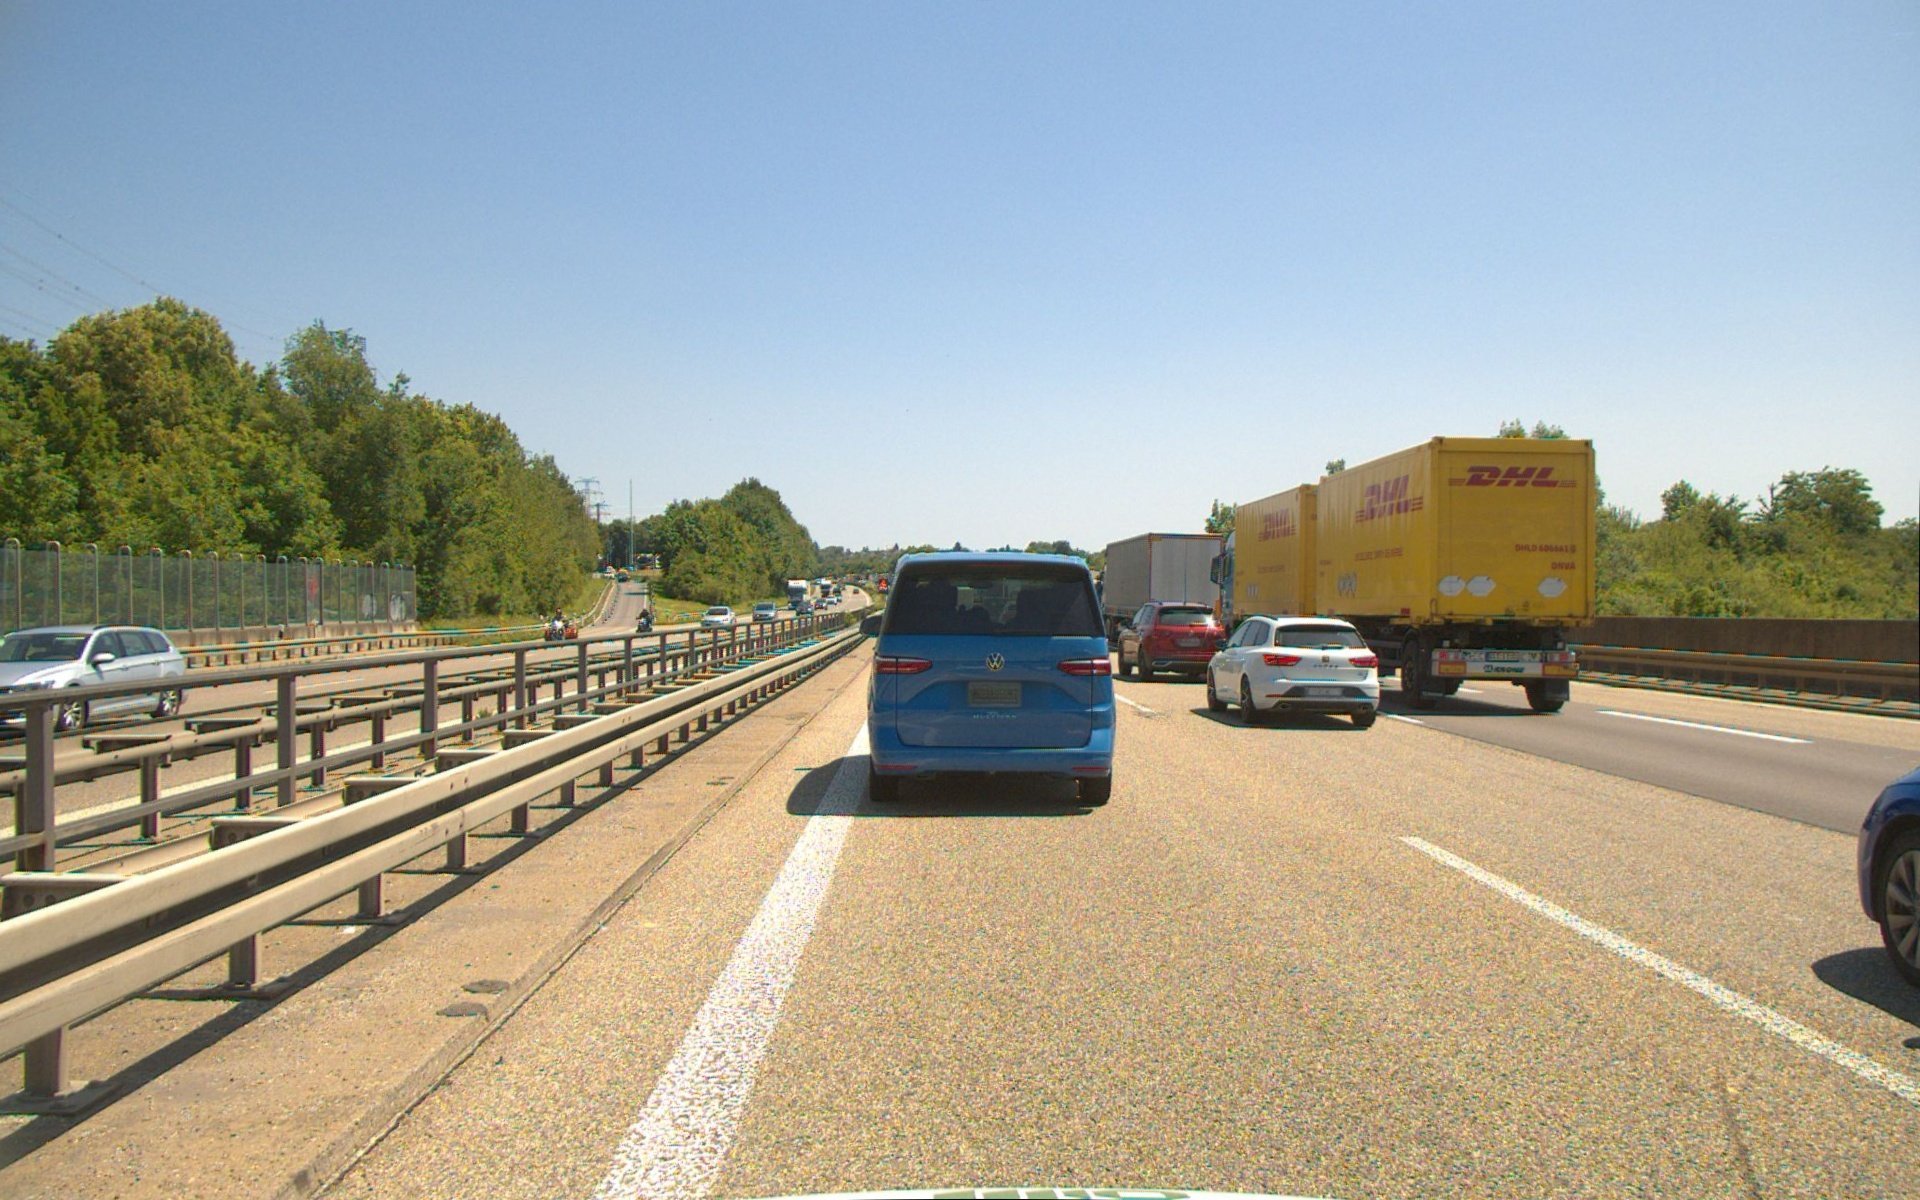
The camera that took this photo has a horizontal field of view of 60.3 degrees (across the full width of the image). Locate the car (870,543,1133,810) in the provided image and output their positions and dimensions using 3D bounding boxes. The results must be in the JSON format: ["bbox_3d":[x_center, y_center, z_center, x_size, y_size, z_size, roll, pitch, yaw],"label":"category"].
[{"bbox_3d":[0.269,0.549,13.694,1.844,1.869,3.999,1,0,-1],"label":"car"}]

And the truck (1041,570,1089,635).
[{"bbox_3d":[6.341,0.191,100.723,2.320,3.787,6.031,1,-1,-1],"label":"truck"}]

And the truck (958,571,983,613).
[{"bbox_3d":[1.463,-1.036,228.401,2.777,5.467,12.548,1,-1,-2],"label":"truck"}]

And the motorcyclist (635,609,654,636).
[{"bbox_3d":[-17.985,1.275,94.305,0.880,1.466,1.082,-1,1,-2],"label":"motorcyclist"}]

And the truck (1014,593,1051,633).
[{"bbox_3d":[6.151,1.160,142.019,2.308,3.275,9.735,1,-1,-2],"label":"truck"}]

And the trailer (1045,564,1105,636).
[{"bbox_3d":[6.477,0.095,94.460,2.331,3.810,11.184,1,-1,-1],"label":"trailer"}]

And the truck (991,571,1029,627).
[{"bbox_3d":[4.754,-0.029,159.345,2.777,5.128,11.140,1,-1,-2],"label":"truck"}]

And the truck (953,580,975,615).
[{"bbox_3d":[0.521,-0.344,252.324,2.777,5.128,12.906,-1,0,-2],"label":"truck"}]

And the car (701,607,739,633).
[{"bbox_3d":[-14.203,1.174,98.009,1.680,1.459,4.174,-3,0,-1],"label":"car"}]

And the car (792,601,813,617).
[{"bbox_3d":[-16.474,0.938,173.018,1.792,1.637,4.167,-2,0,-1],"label":"car"}]

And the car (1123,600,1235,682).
[{"bbox_3d":[4.601,0.831,35.313,1.813,1.636,3.999,0,0,-1],"label":"car"}]

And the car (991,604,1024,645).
[{"bbox_3d":[2.453,1.268,85.910,1.551,2.049,3.492,1,-1,-1],"label":"car"}]

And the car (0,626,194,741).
[{"bbox_3d":[-12.487,1.100,22.884,1.872,1.419,4.164,-1,-1,-1],"label":"car"}]

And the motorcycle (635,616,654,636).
[{"bbox_3d":[-17.959,1.470,94.215,0.687,1.089,2.305,-1,1,-1],"label":"motorcycle"}]

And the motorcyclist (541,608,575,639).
[{"bbox_3d":[-17.188,1.005,70.732,1.162,1.278,1.118,-2,0,-1],"label":"motorcyclist"}]

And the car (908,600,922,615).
[{"bbox_3d":[-6.023,1.002,221.664,1.704,1.944,3.680,1,-1,-1],"label":"car"}]

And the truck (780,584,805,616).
[{"bbox_3d":[-23.499,0.005,232.643,2.928,4.354,7.186,-1,0,-1],"label":"truck"}]

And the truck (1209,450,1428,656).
[{"bbox_3d":[8.081,-0.891,38.812,2.667,4.126,10.333,1,-1,-1],"label":"truck"}]

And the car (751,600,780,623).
[{"bbox_3d":[-14.859,0.844,126.434,1.793,1.637,4.167,-3,0,-1],"label":"car"}]

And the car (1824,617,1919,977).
[{"bbox_3d":[4.779,0.810,5.248,1.675,1.465,4.499,1,0,-1],"label":"car"}]

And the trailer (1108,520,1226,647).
[{"bbox_3d":[7.516,-0.487,61.654,2.699,4.219,11.308,1,-1,-1],"label":"trailer"}]

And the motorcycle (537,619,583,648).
[{"bbox_3d":[-17.168,1.423,70.999,1.338,1.118,2.575,-2,0,-1],"label":"motorcycle"}]

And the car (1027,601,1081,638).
[{"bbox_3d":[3.778,0.767,66.958,1.801,1.438,3.998,0,0,-2],"label":"car"}]

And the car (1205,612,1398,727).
[{"bbox_3d":[4.611,0.893,22.926,1.745,1.411,4.187,1,0,-1],"label":"car"}]

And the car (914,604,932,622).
[{"bbox_3d":[-4.224,1.487,189.623,1.953,2.049,3.999,1,-1,-1],"label":"car"}]

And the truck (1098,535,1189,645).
[{"bbox_3d":[7.397,-0.338,67.475,2.712,4.167,6.982,1,-1,-1],"label":"truck"}]

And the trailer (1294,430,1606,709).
[{"bbox_3d":[8.221,-0.395,29.147,2.647,4.094,8.927,1,-1,-1],"label":"trailer"}]

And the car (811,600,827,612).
[{"bbox_3d":[-18.735,0.804,219.457,1.792,1.637,4.167,-1,0,-1],"label":"car"}]
